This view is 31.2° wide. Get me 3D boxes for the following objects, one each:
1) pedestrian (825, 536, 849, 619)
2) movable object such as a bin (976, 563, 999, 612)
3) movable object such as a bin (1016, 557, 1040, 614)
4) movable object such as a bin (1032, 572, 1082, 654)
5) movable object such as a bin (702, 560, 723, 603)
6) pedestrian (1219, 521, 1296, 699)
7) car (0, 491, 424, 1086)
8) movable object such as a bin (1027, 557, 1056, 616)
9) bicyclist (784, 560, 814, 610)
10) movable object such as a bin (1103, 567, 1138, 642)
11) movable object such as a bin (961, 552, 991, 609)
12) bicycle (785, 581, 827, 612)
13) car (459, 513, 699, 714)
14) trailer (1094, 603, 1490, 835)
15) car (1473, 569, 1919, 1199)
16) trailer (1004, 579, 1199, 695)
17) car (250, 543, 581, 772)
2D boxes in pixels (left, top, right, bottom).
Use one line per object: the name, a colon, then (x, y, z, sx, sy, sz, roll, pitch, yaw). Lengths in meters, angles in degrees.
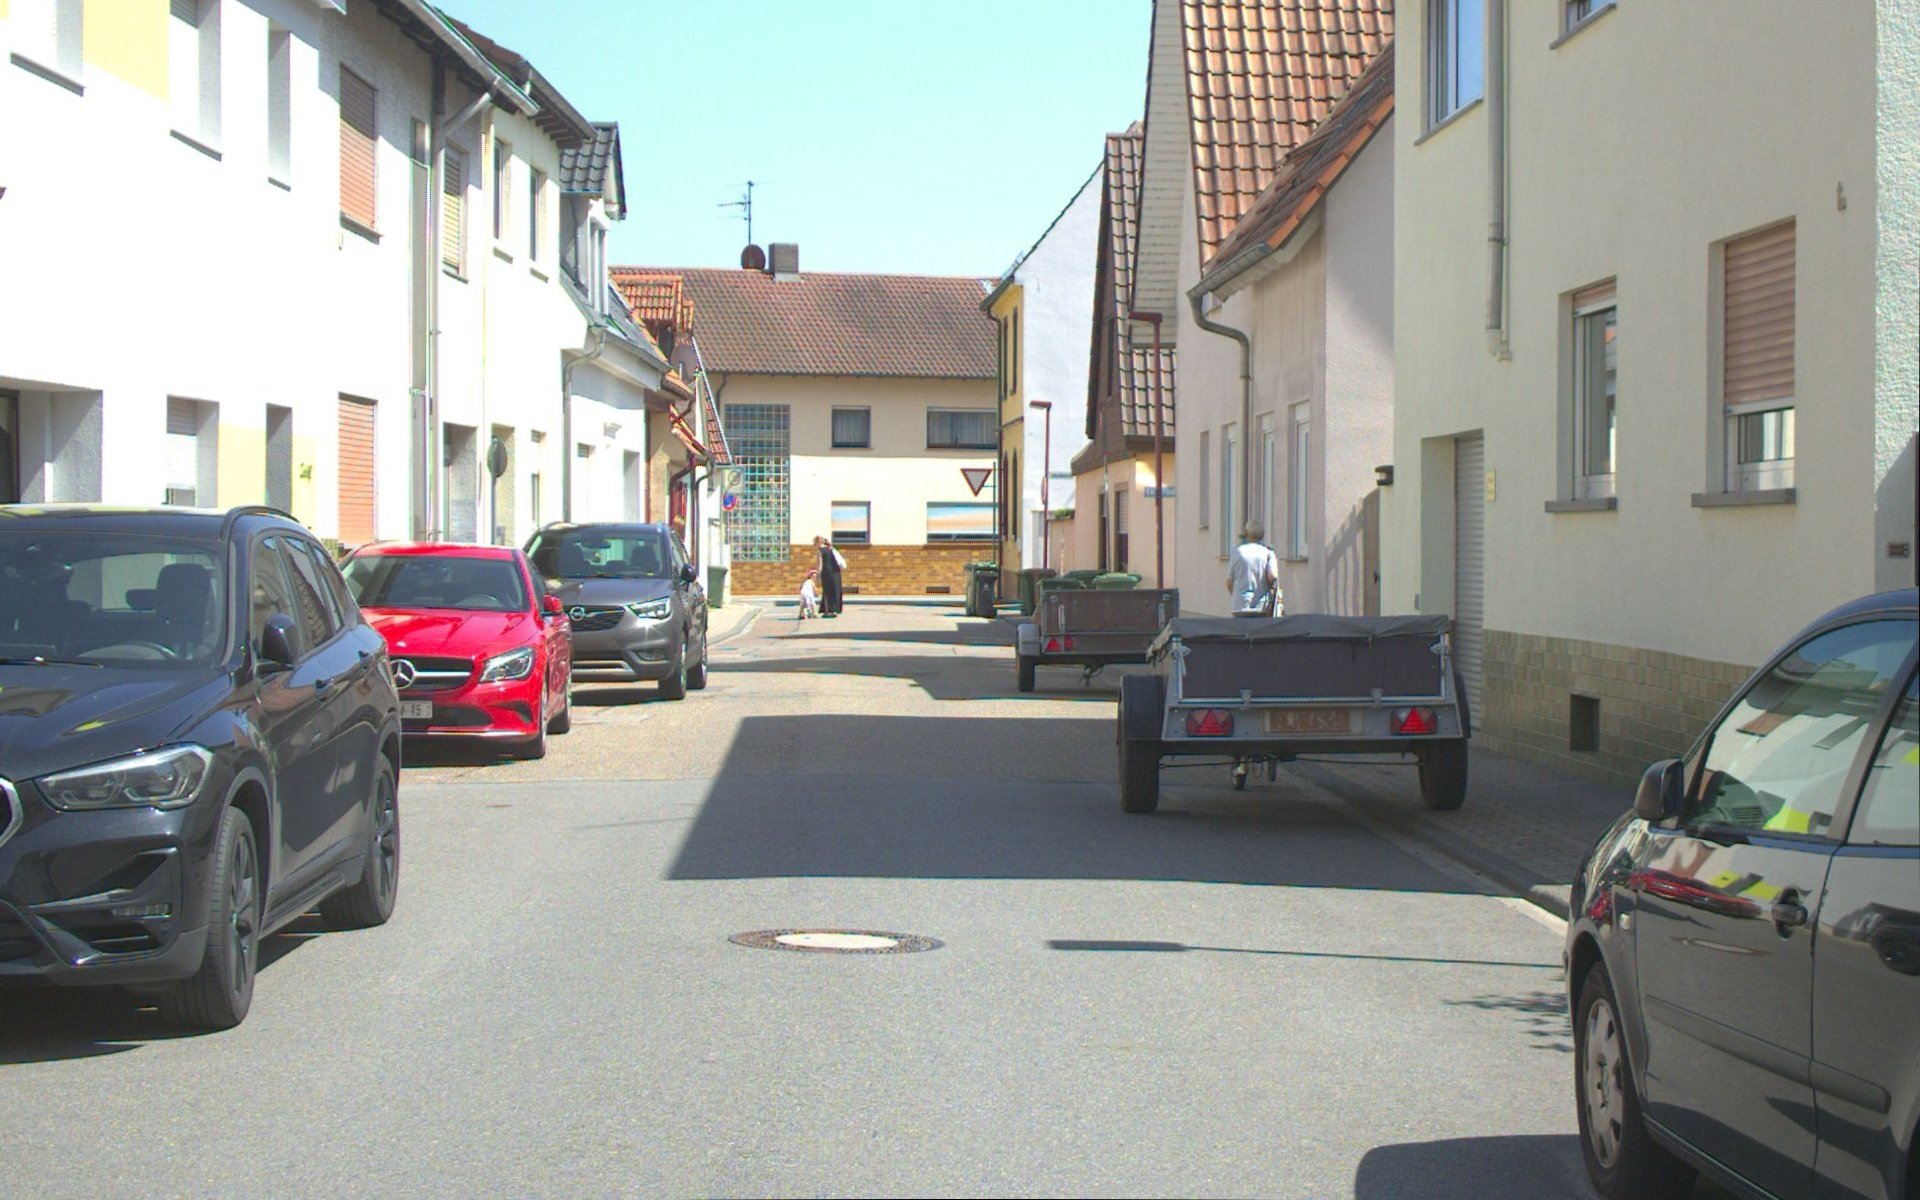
pedestrian: (-2.386, -0.442, 66.560, 0.411, 1.604, 0.368, -1, 1, -11)
movable object such as a bin: (0.546, -0.246, 68.799, 0.424, 0.972, 0.473, 0, 1, -4)
movable object such as a bin: (1.353, -0.296, 68.249, 0.425, 1.124, 0.414, 0, 1, -4)
movable object such as a bin: (1.235, 0.164, 43.851, 0.585, 1.029, 0.596, 0, 1, -2)
movable object such as a bin: (-5.375, -0.408, 74.731, 0.448, 0.918, 0.404, 0, 1, -4)
pedestrian: (2.648, 0.094, 30.661, 0.595, 1.559, 0.557, 0, -3, -3)
car: (-3.031, 0.476, 11.397, 1.800, 1.568, 4.615, -1, 1, 0)
movable object such as a bin: (1.556, -0.259, 65.686, 0.525, 1.124, 0.366, 0, 1, -4)
bicyclist: (-3.101, -0.286, 66.100, 0.461, 0.955, 0.352, -1, 2, -30)
movable object such as a bin: (2.347, 0.064, 50.385, 0.457, 1.083, 0.502, 0, 1, -2)
movable object such as a bin: (0.324, -0.396, 69.402, 0.569, 1.124, 0.454, 0, 1, -4)
bicycle: (-2.959, -0.068, 66.004, 0.441, 0.565, 0.939, -1, 1, -30)
car: (-3.459, 0.085, 31.940, 1.800, 1.698, 4.488, -1, 1, -1)
trailer: (1.734, 0.600, 18.994, 1.817, 1.086, 3.481, 0, 1, -1)
car: (2.269, 0.669, 6.806, 1.649, 1.431, 4.135, 0, 1, -4)
trailer: (1.339, 0.337, 33.772, 1.699, 1.029, 3.481, 0, 1, -1)
car: (-3.692, 0.328, 24.015, 1.800, 1.436, 4.488, 0, 1, -3)
